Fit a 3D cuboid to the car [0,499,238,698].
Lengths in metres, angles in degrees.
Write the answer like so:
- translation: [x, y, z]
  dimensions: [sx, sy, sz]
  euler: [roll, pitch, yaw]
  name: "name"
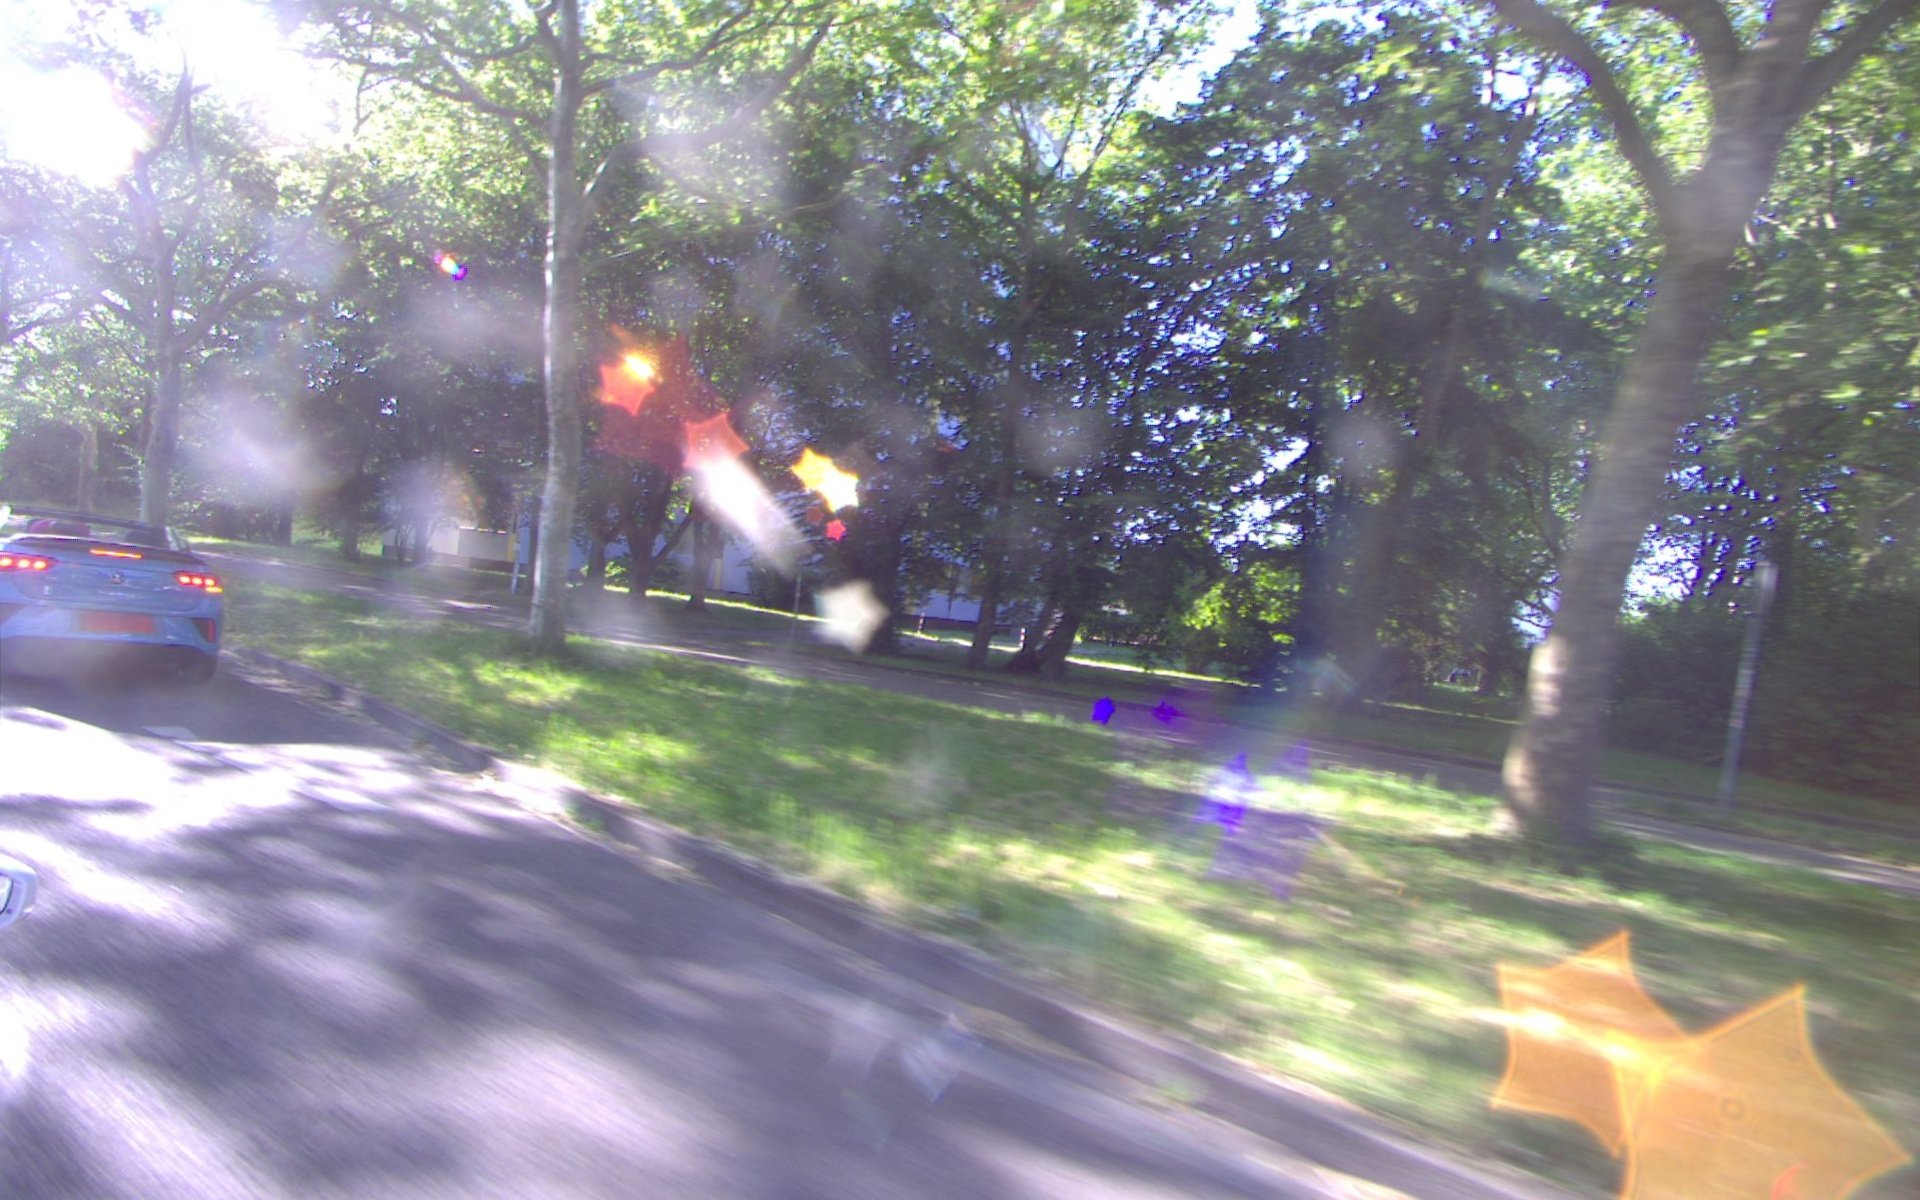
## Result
- translation: [-8.656, -0.127, 9.762]
  dimensions: [4.044, 1.501, 1.774]
  euler: [6, -2, 42]
  name: "car"
